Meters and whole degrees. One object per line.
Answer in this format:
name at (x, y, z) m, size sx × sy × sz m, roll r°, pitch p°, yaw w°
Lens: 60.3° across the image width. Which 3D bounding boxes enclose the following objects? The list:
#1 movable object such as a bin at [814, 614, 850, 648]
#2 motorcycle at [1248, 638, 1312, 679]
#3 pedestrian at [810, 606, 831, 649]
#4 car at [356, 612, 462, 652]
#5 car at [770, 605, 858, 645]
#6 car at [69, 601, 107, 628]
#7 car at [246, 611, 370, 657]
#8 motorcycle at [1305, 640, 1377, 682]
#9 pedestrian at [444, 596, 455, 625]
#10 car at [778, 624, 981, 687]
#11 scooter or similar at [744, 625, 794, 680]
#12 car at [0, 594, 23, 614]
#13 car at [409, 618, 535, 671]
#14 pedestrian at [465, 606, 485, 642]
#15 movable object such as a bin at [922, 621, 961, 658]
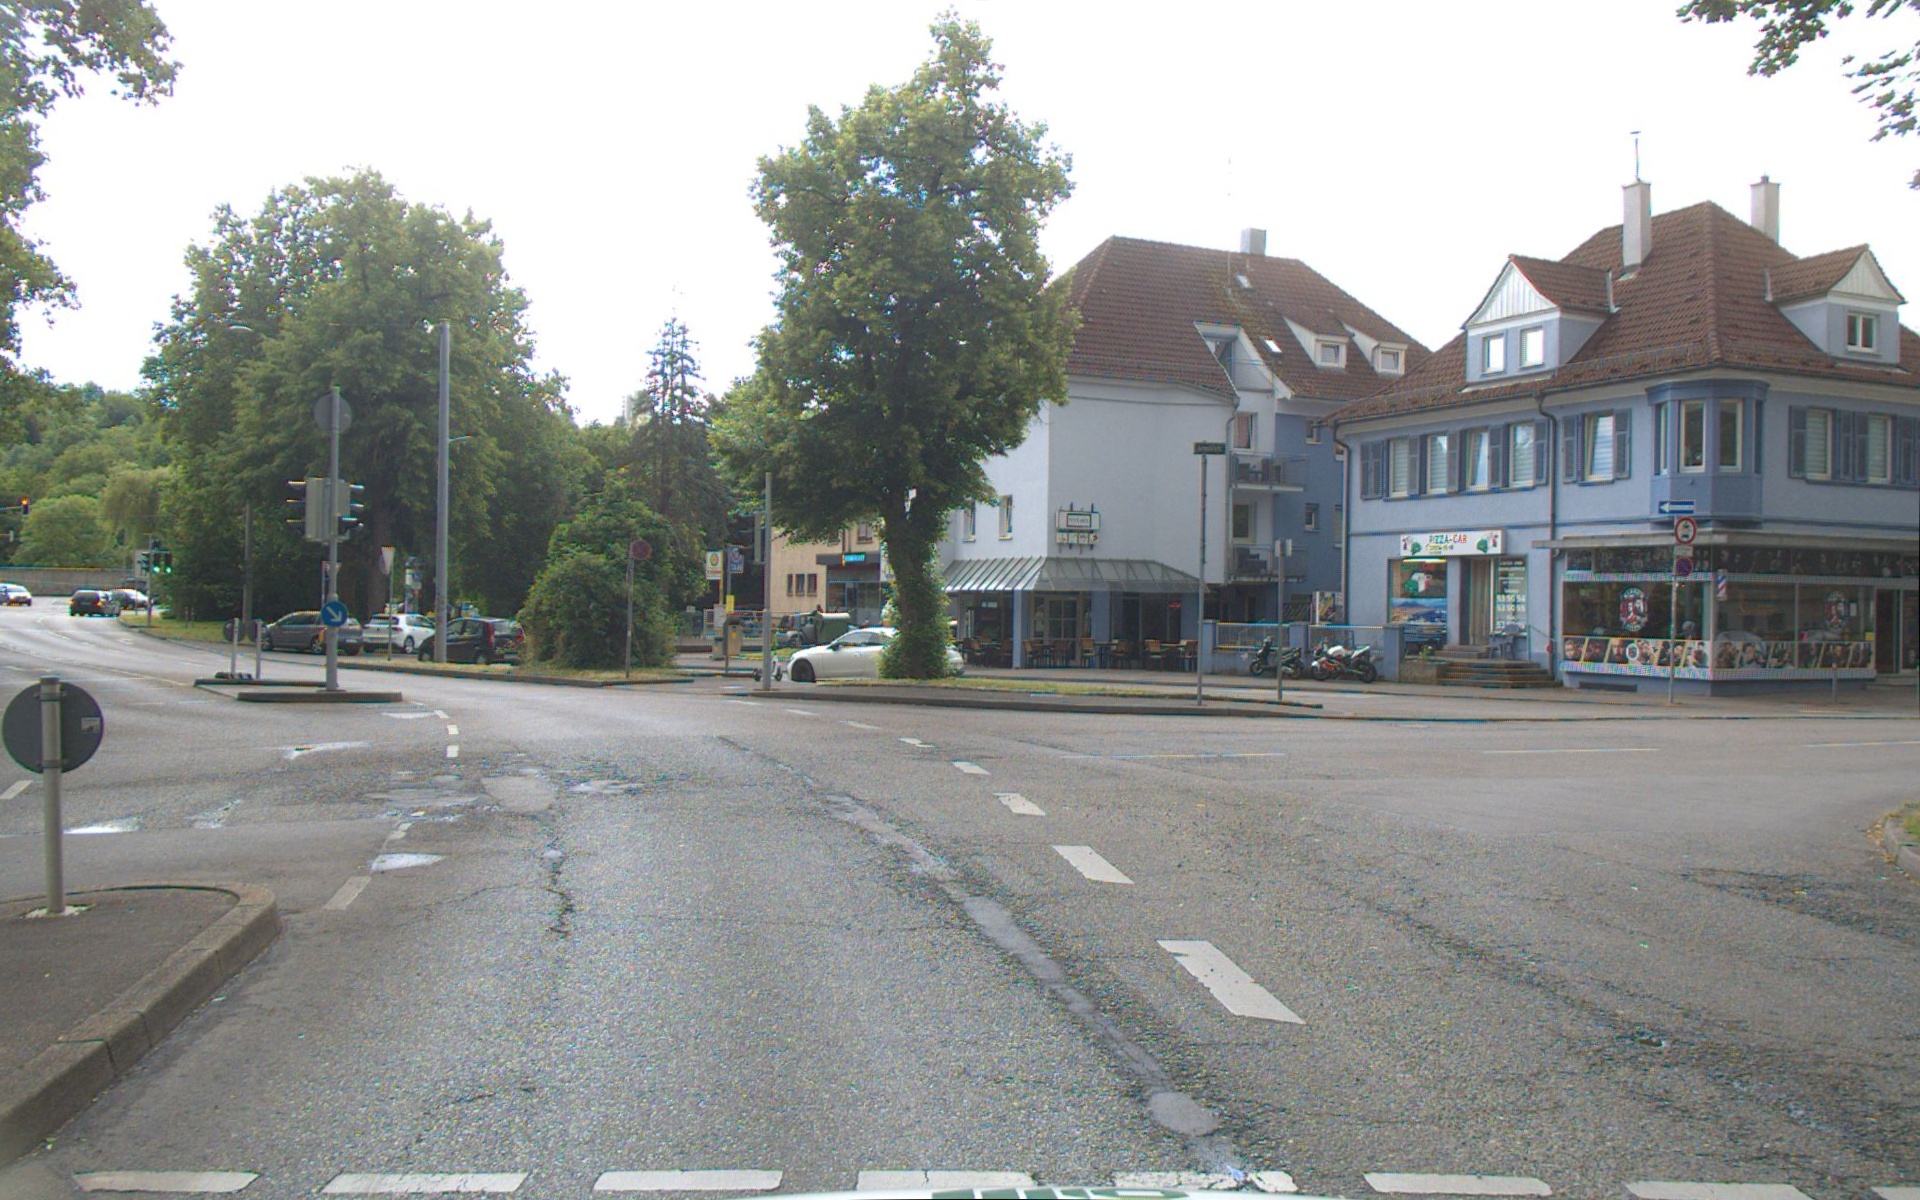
movable object such as a bin at (-5.262, 1.280, 68.054) m, size 1.203 × 1.368 × 0.985 m, roll 0°, pitch -1°, yaw -30°
motorcycle at (8.505, 1.537, 44.047) m, size 1.696 × 1.049 × 0.486 m, roll 0°, pitch -1°, yaw 44°
pedestrian at (-5.814, 1.152, 69.009) m, size 0.680 × 1.760 × 0.605 m, roll 0°, pitch -1°, yaw -30°
car at (-20.443, 1.171, 61.559) m, size 1.721 × 1.405 × 4.265 m, roll 1°, pitch 0°, yaw 13°
car at (-6.183, 1.034, 70.024) m, size 3.368 × 1.659 × 1.612 m, roll 0°, pitch -1°, yaw -24°
car at (-50.481, 0.825, 95.701) m, size 1.802 × 1.536 × 4.529 m, roll 1°, pitch 0°, yaw -29°
car at (-23.103, 1.188, 58.626) m, size 4.017 × 1.454 × 1.733 m, roll 2°, pitch 0°, yaw 23°
motorcycle at (9.710, 1.544, 42.210) m, size 1.792 × 1.003 × 0.518 m, roll 0°, pitch -1°, yaw 44°
pedestrian at (-27.647, 0.589, 89.625) m, size 0.503 × 1.558 × 0.773 m, roll 1°, pitch -1°, yaw -21°
car at (-1.974, 1.299, 39.773) m, size 4.692 × 1.411 × 1.992 m, roll 0°, pitch -1°, yaw 36°
scooter or similar at (-4.253, 1.187, 36.895) m, size 0.403 × 1.187 × 1.360 m, roll 0°, pitch -3°, yaw 27°
car at (-78.538, 0.274, 135.376) m, size 3.009 × 1.259 × 1.432 m, roll 2°, pitch 12°, yaw -21°
car at (-14.183, 1.263, 48.029) m, size 3.418 × 1.429 × 1.570 m, roll 1°, pitch 0°, yaw 30°
pedestrian at (-21.575, 1.085, 73.600) m, size 0.676 × 1.578 × 0.735 m, roll 1°, pitch 0°, yaw -31°
movable object such as a bin at (-0.723, 1.527, 64.611) m, size 1.196 × 1.420 × 1.154 m, roll 0°, pitch -1°, yaw -21°
